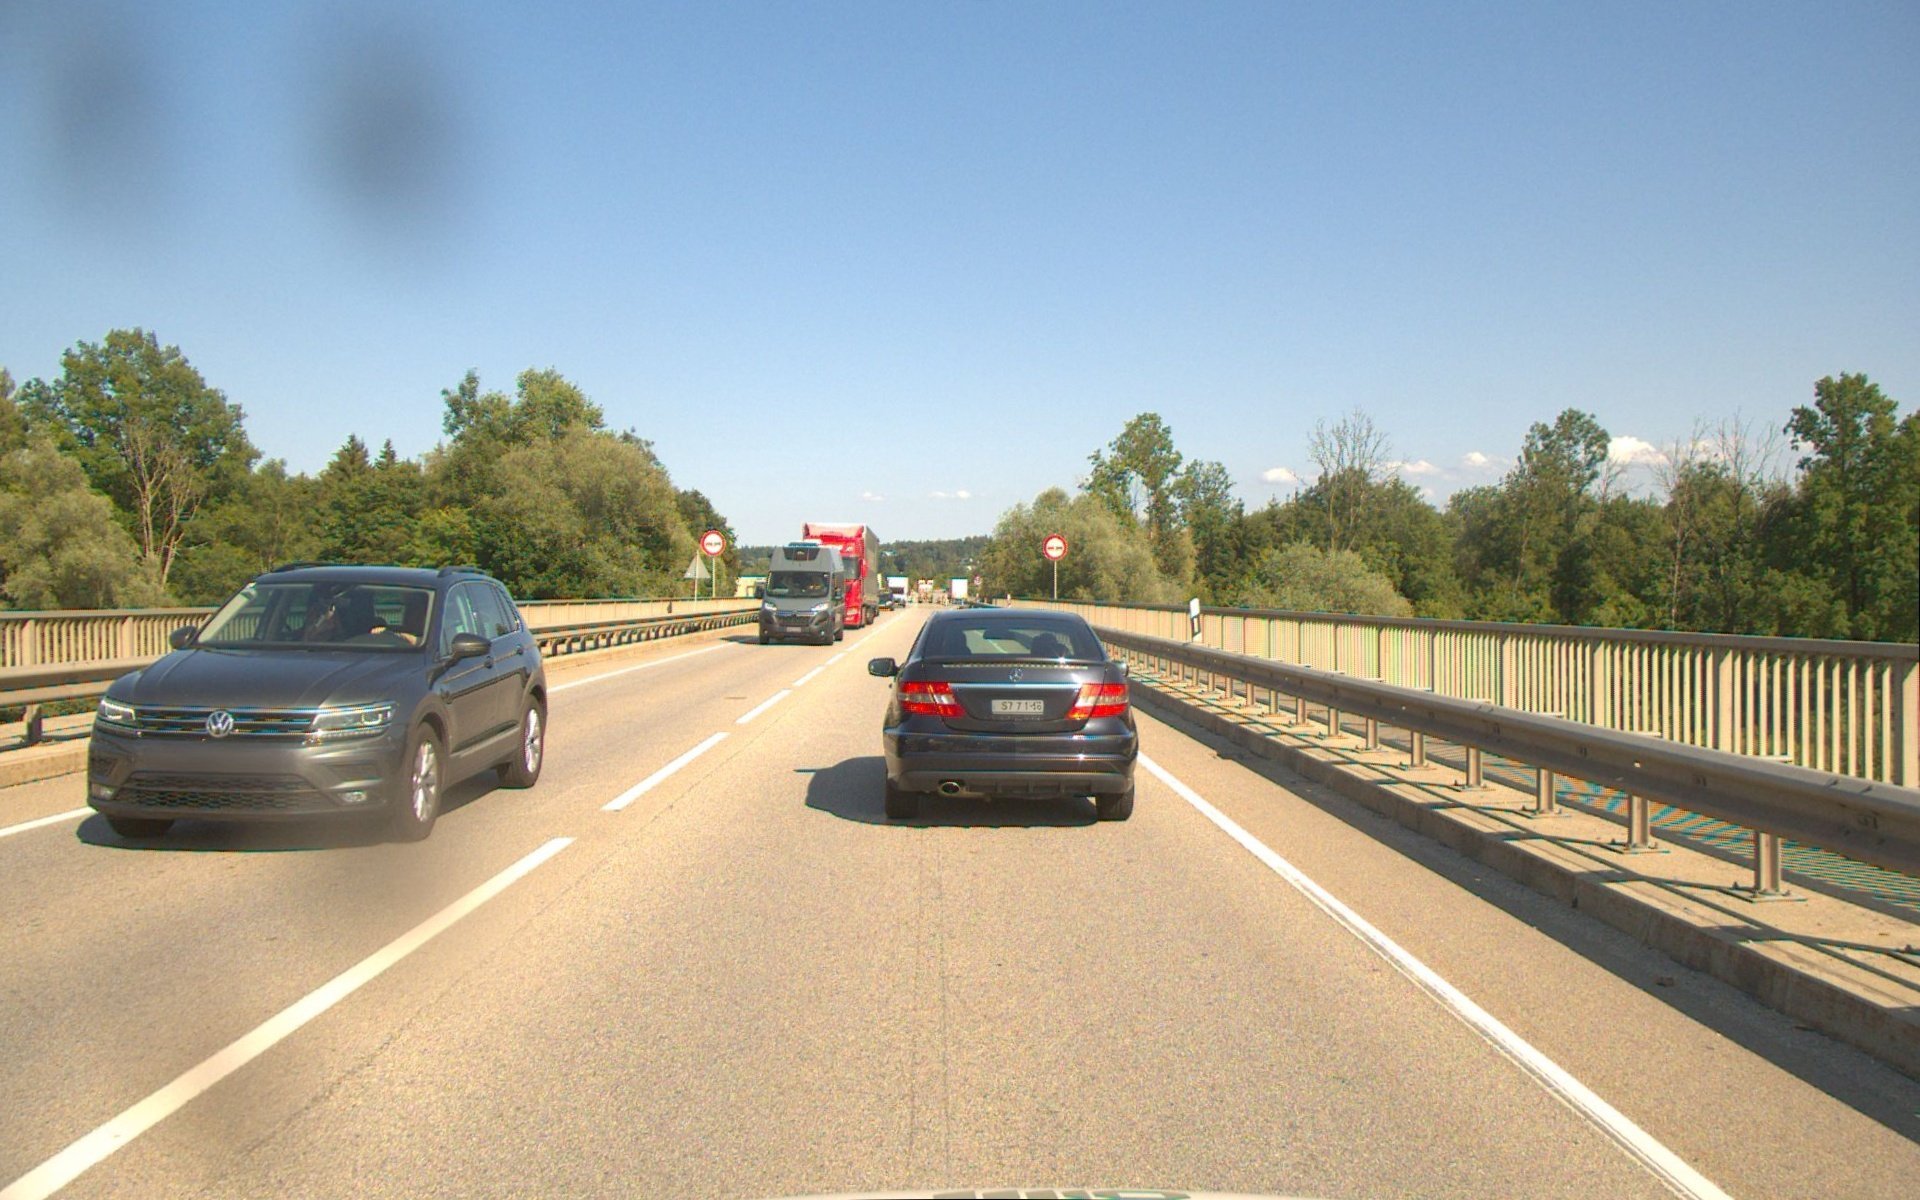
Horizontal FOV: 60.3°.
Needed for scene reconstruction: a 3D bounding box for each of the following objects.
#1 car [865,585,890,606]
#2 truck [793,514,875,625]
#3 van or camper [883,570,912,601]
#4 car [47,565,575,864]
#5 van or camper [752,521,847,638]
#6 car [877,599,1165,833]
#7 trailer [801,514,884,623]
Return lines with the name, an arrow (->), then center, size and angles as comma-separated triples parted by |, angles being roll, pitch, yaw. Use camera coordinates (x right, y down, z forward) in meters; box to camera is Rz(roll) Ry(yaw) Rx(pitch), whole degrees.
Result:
car -> -6.714, -0.366, 134.311 | 1.805, 1.670, 4.572 | 1, 0, -5
truck -> -4.976, -1.191, 66.378 | 2.848, 4.257, 5.712 | 0, 0, 0
van or camper -> -6.841, -1.574, 182.357 | 2.581, 3.313, 7.751 | 1, 0, 2
car -> -3.989, 0.599, 11.039 | 1.836, 1.611, 4.274 | 0, 0, 0
van or camper -> -4.545, -0.576, 47.737 | 2.269, 3.104, 6.815 | 1, 1, -2
car -> 0.379, 0.709, 12.135 | 1.756, 1.400, 4.000 | 0, 0, 0
trailer -> -5.062, -1.334, 73.835 | 2.848, 4.377, 14.300 | 1, 0, -1
